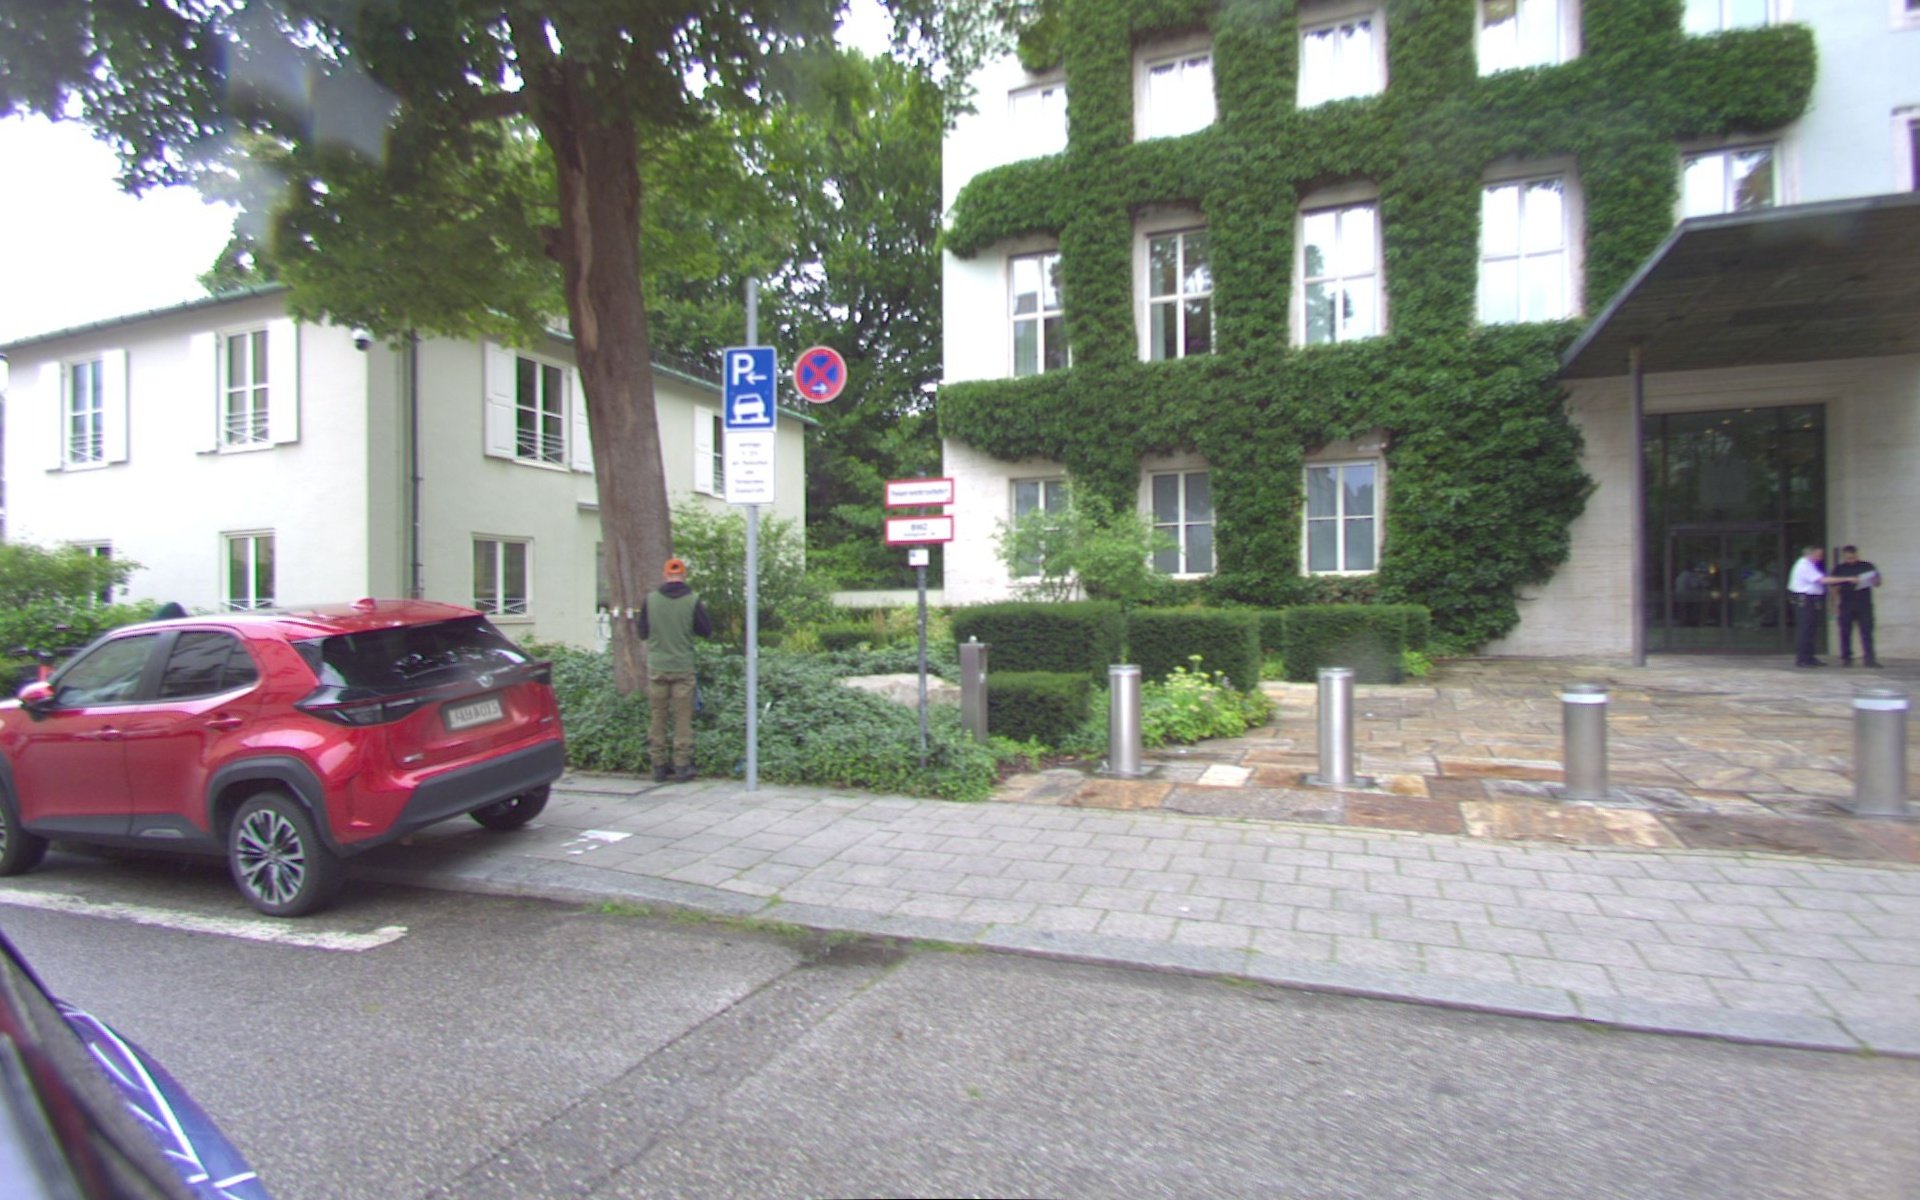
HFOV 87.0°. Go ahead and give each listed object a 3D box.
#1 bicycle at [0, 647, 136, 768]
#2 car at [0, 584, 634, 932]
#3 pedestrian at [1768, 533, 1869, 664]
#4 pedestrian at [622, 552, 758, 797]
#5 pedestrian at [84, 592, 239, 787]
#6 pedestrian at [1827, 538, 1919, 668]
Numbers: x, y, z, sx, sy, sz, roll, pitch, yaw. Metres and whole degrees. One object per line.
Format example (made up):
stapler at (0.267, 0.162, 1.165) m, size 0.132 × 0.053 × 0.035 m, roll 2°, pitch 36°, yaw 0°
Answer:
bicycle at (-9.439, 1.066, 10.465) m, size 2.036 × 1.139 × 0.645 m, roll -1°, pitch -2°, yaw 27°
car at (-4.499, 0.755, 6.318) m, size 4.493 × 1.602 × 1.881 m, roll -1°, pitch 0°, yaw 20°
pedestrian at (12.041, -0.005, 14.227) m, size 0.746 × 1.766 × 0.895 m, roll -1°, pitch -1°, yaw 19°
pedestrian at (-2.176, 0.571, 8.209) m, size 0.791 × 1.866 × 0.710 m, roll -1°, pitch 0°, yaw 20°
pedestrian at (-6.736, 0.722, 8.562) m, size 0.746 × 1.560 × 0.712 m, roll -1°, pitch 0°, yaw 16°
pedestrian at (12.883, 0.046, 14.168) m, size 0.893 × 1.766 × 0.748 m, roll 0°, pitch -1°, yaw 17°
